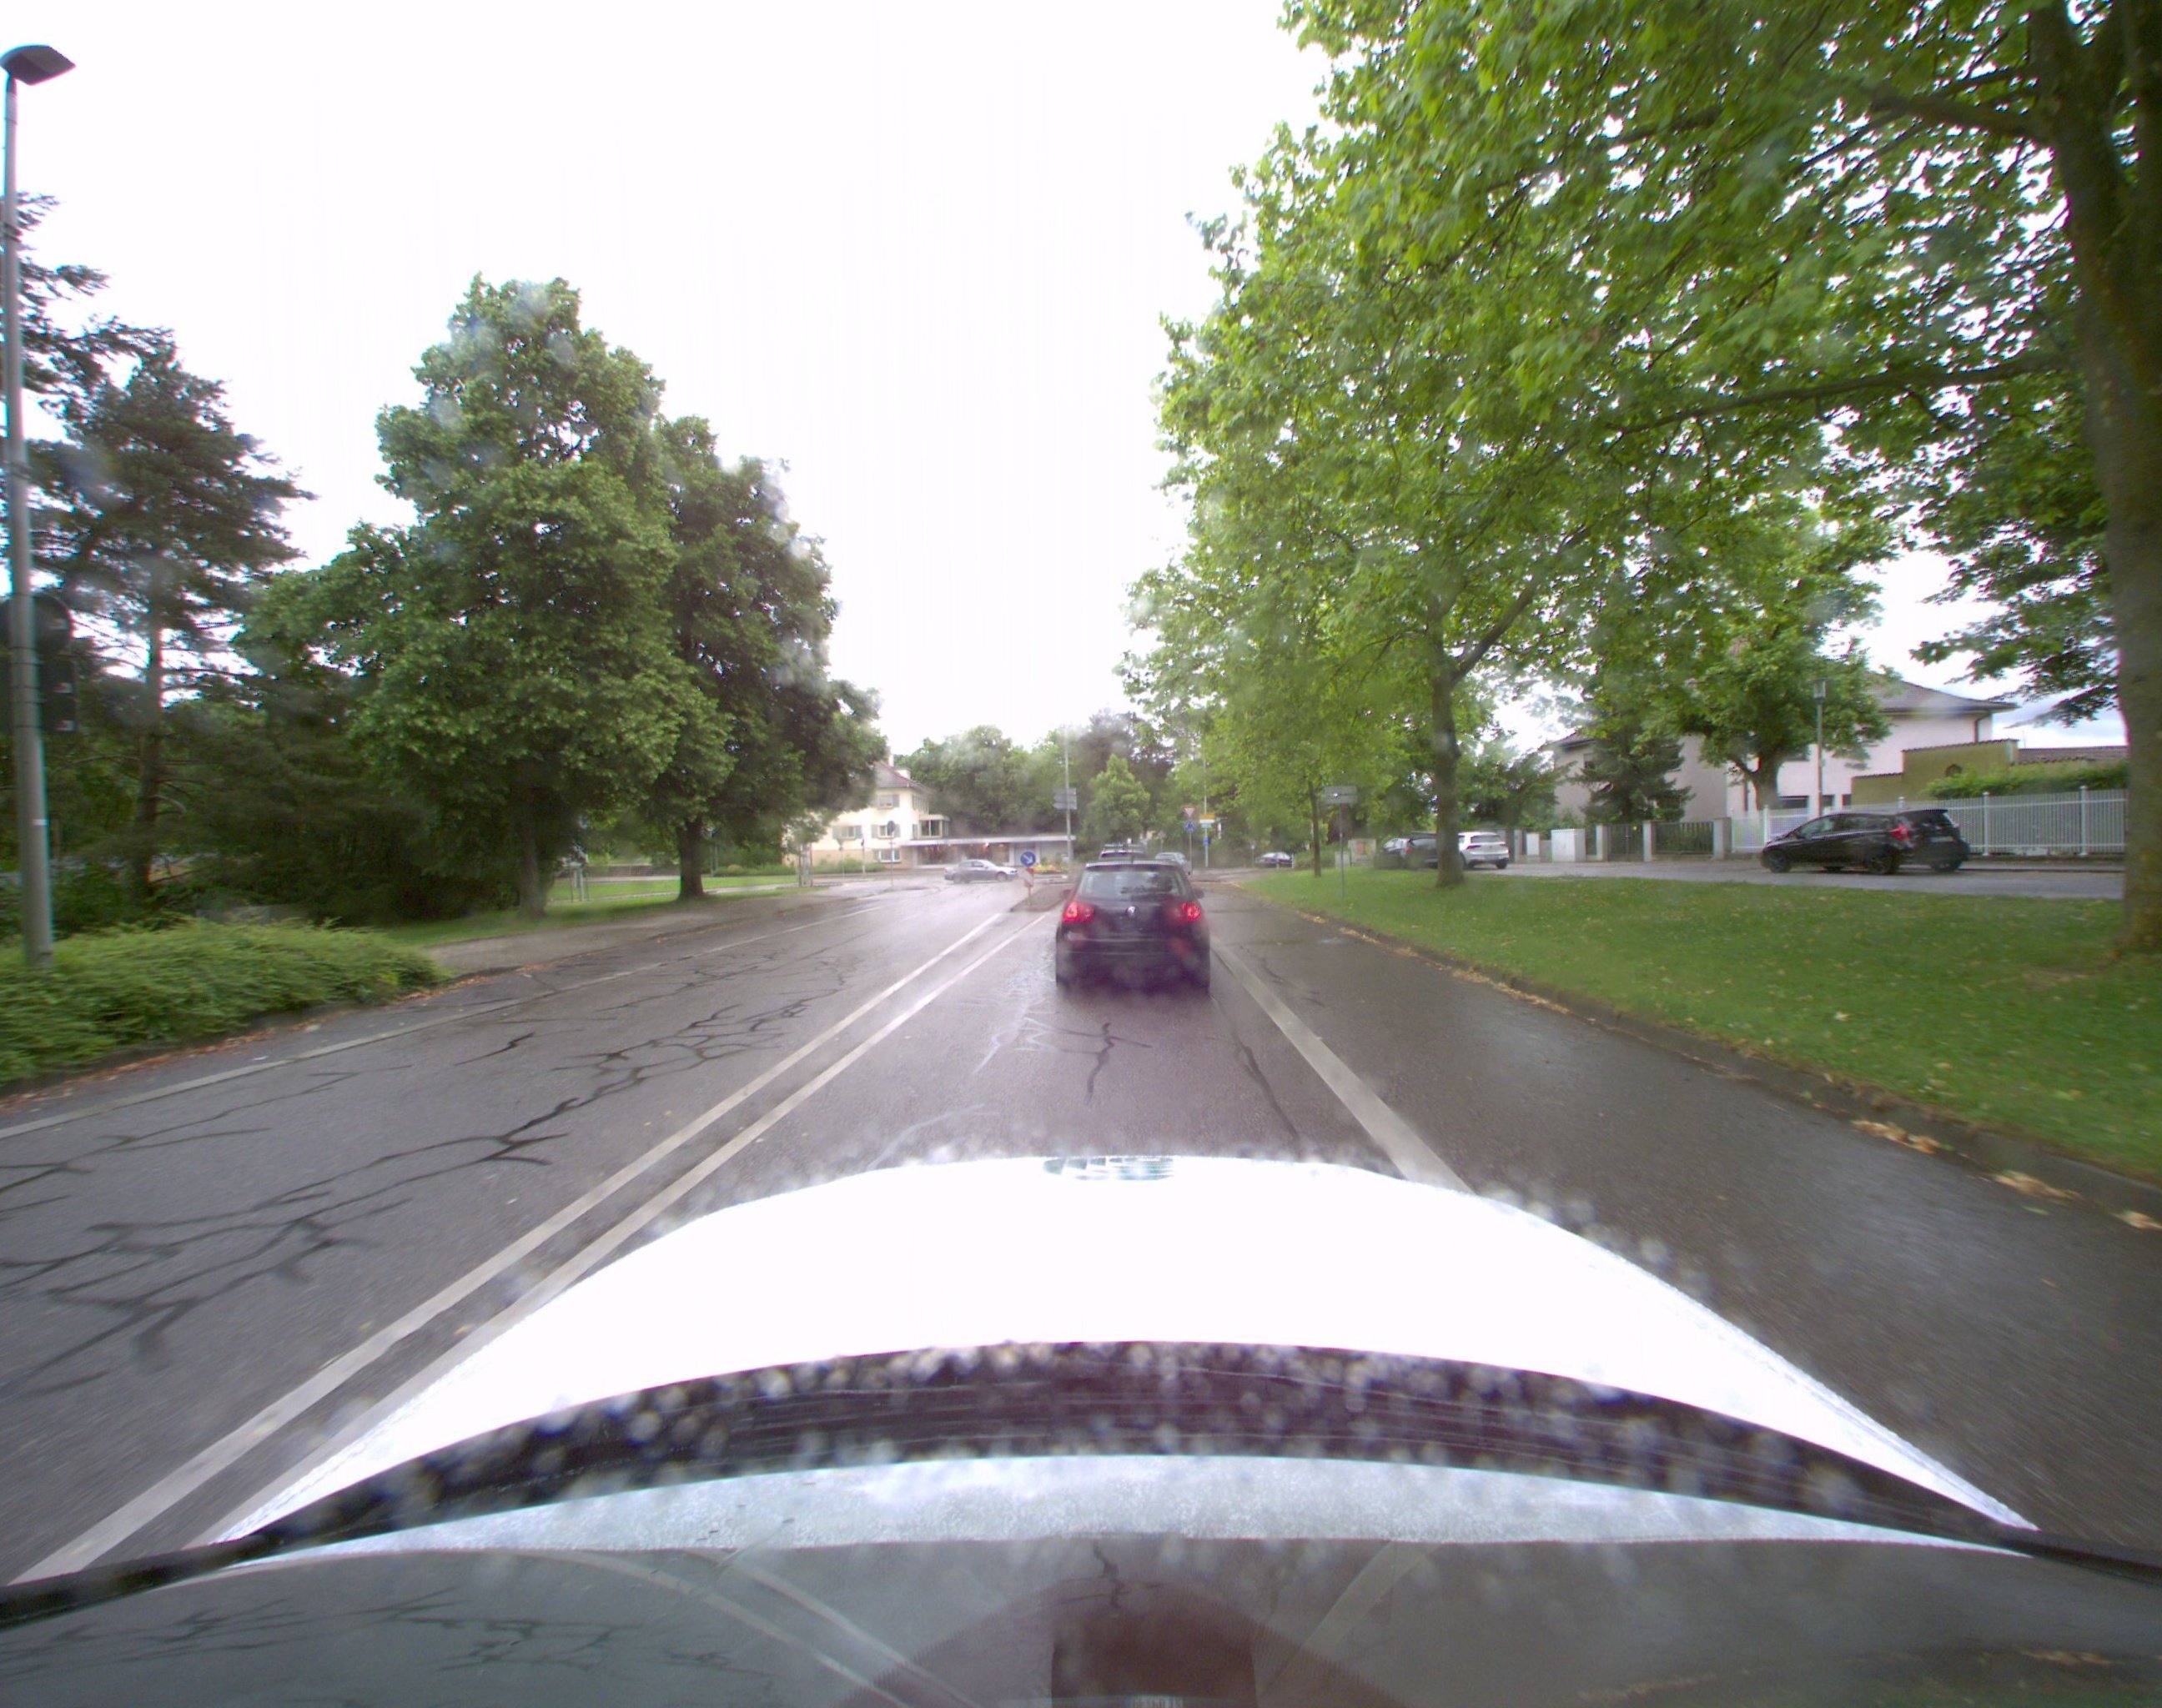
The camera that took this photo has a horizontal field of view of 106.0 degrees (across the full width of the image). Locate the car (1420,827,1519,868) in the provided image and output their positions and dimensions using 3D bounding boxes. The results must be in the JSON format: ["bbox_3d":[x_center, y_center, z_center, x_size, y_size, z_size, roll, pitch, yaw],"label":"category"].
[{"bbox_3d":[15.682,-0.216,33.146,1.839,1.471,4.425,-3,0,0],"label":"car"}]

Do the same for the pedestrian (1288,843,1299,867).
[{"bbox_3d":[15.336,0.061,58.849,0.528,1.713,0.633,0,-1,-12],"label":"pedestrian"}]

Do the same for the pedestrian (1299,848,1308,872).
[{"bbox_3d":[16.262,0.429,59.562,0.629,1.713,0.532,0,-1,18],"label":"pedestrian"}]

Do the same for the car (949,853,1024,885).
[{"bbox_3d":[-5.647,0.913,48.870,3.993,1.684,2.007,-3,0,12],"label":"car"}]

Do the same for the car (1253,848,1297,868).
[{"bbox_3d":[15.476,0.341,64.713,1.974,1.530,4.025,-1,-1,36],"label":"car"}]

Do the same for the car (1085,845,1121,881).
[{"bbox_3d":[1.241,0.462,44.385,1.757,1.801,4.249,-3,-1,3],"label":"car"}]

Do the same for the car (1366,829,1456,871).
[{"bbox_3d":[13.227,-0.130,32.928,1.758,1.471,4.598,-4,-1,1],"label":"car"}]

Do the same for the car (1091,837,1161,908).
[{"bbox_3d":[1.224,0.510,23.579,1.758,1.801,4.247,-3,-1,1],"label":"car"}]

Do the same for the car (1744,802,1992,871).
[{"bbox_3d":[18.930,-0.359,19.920,1.756,1.471,4.353,-1,0,-2],"label":"car"}]

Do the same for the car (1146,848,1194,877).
[{"bbox_3d":[5.598,0.527,50.749,1.976,1.741,4.165,0,-1,21],"label":"car"}]

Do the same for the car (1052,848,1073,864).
[{"bbox_3d":[-1.882,0.201,81.710,1.809,1.486,3.825,-3,0,-5],"label":"car"}]

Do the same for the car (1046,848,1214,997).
[{"bbox_3d":[0.587,0.706,10.529,1.758,1.538,4.002,0,1,2],"label":"car"}]
